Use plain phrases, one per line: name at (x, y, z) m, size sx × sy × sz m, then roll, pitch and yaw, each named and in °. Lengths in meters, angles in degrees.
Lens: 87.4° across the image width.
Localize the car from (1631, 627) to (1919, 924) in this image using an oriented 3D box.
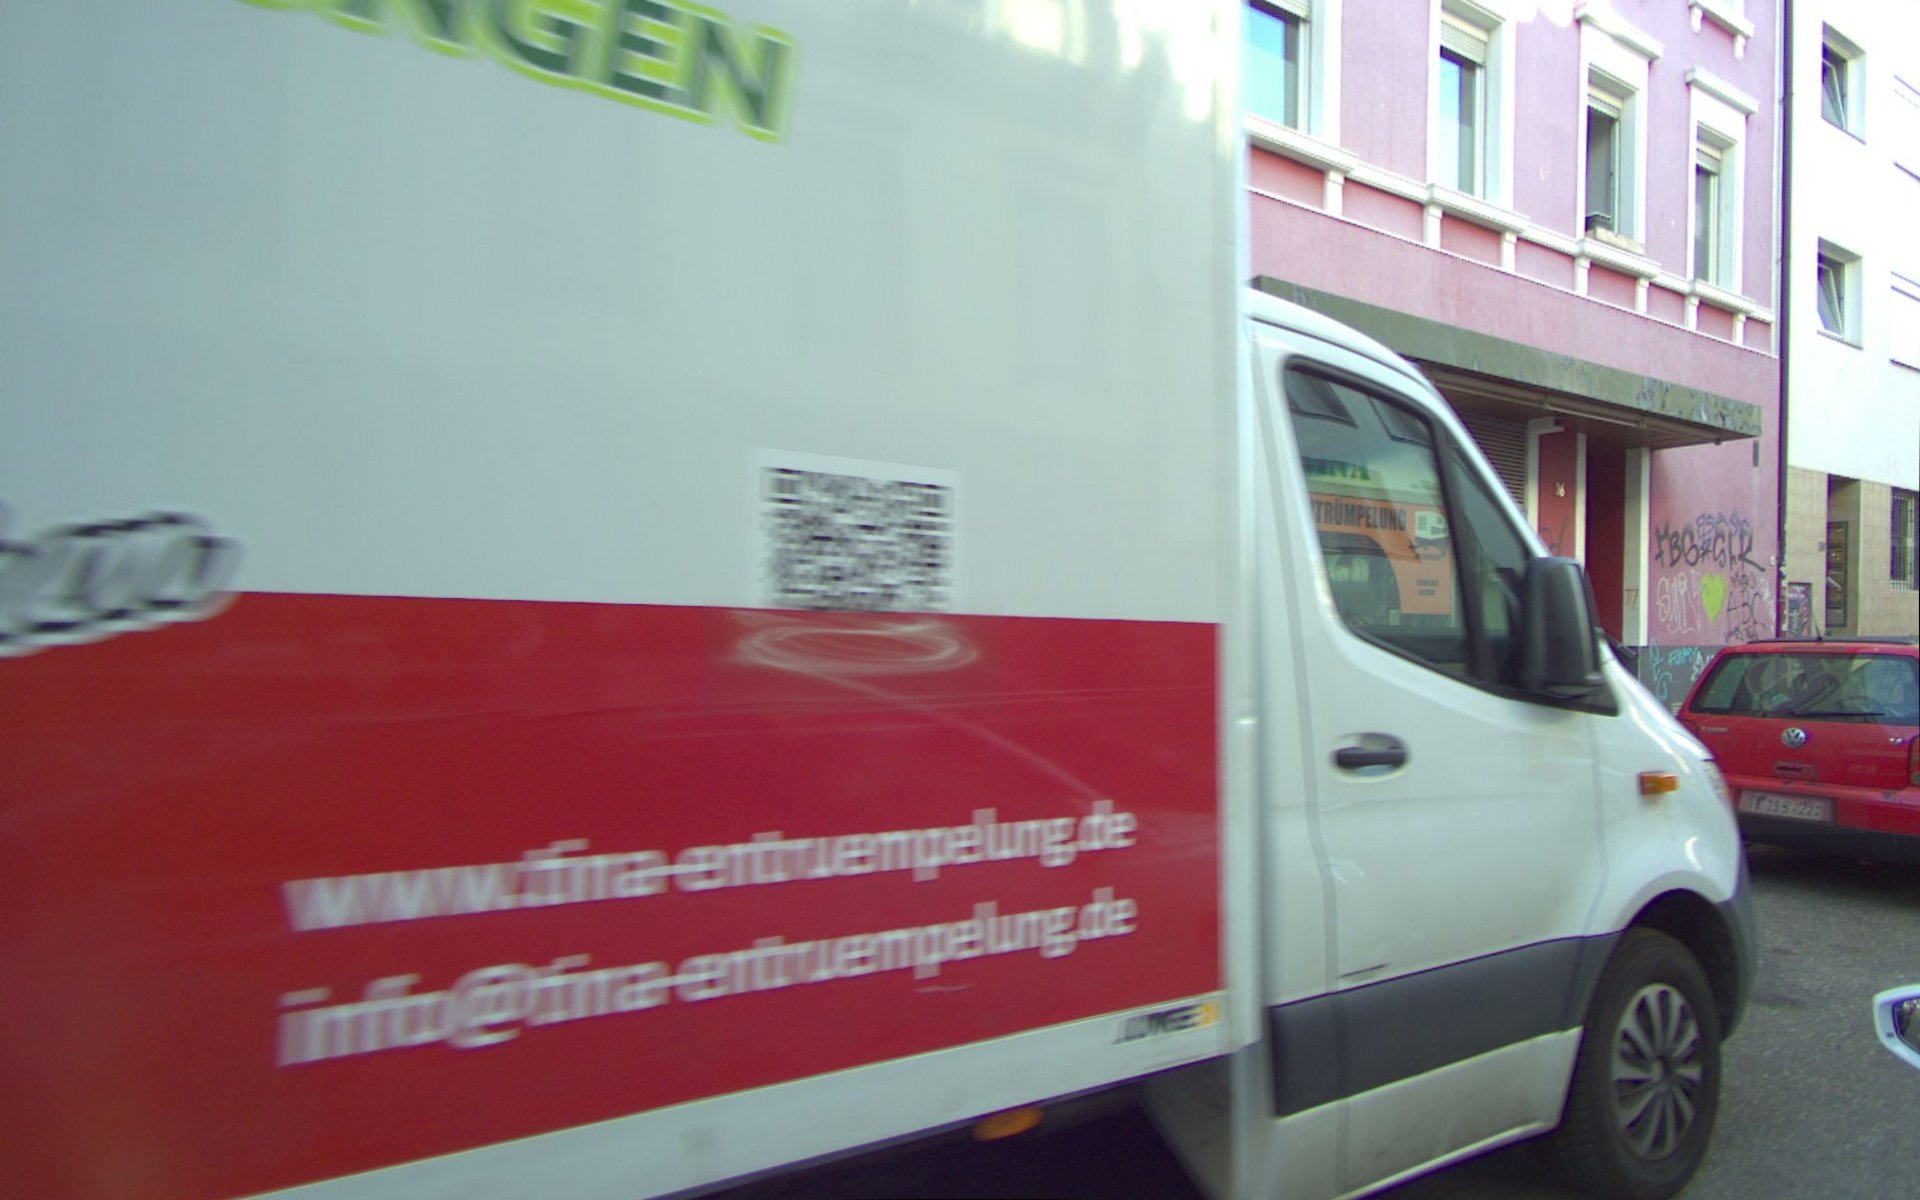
car at (6.109, 0.962, 6.504) m, size 3.524 × 1.503 × 1.571 m, roll 2°, pitch -3°, yaw -31°

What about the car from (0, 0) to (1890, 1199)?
car at (-0.847, -0.109, 2.301) m, size 7.069 × 3.334 × 2.333 m, roll 2°, pitch -3°, yaw -30°
